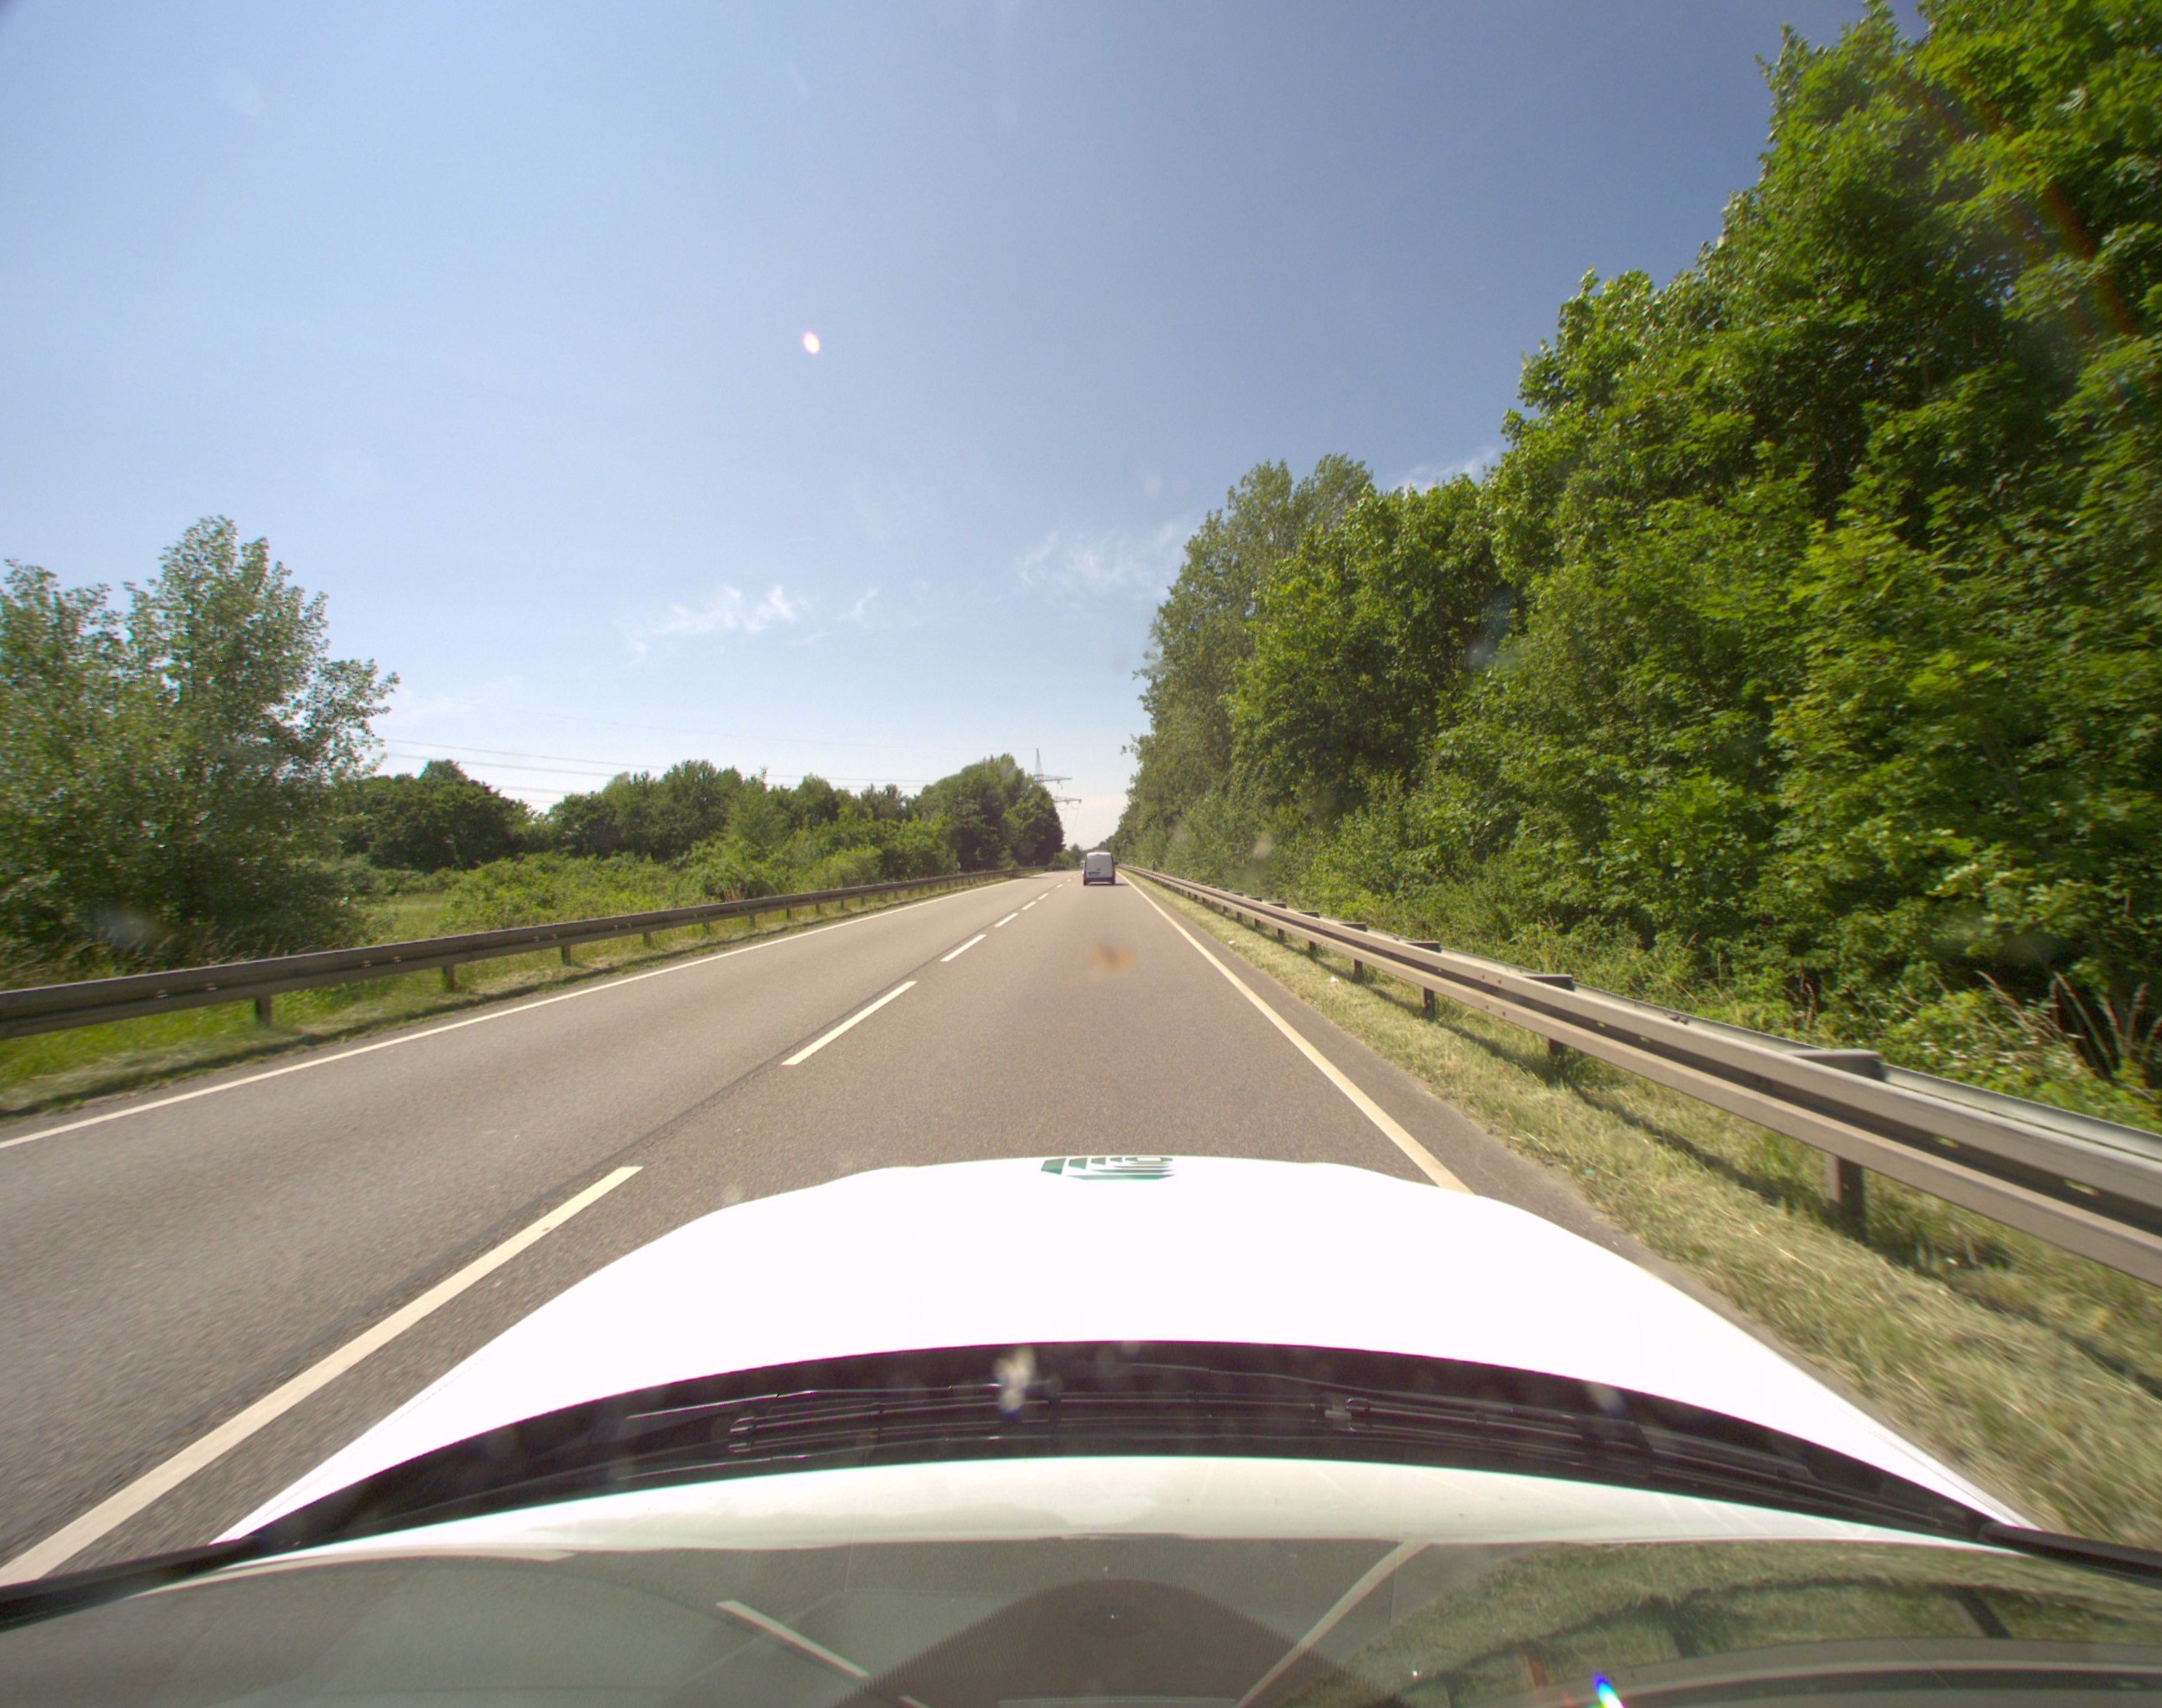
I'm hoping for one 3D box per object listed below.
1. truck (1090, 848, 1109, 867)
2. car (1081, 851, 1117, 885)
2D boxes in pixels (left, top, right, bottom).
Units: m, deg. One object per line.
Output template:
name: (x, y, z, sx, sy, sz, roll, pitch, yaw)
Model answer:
truck: (3.272, 0.624, 143.647, 3.285, 3.172, 14.407, 0, 0, 1)
car: (1.007, 0.744, 45.164, 1.868, 1.741, 4.001, 0, 0, 1)
